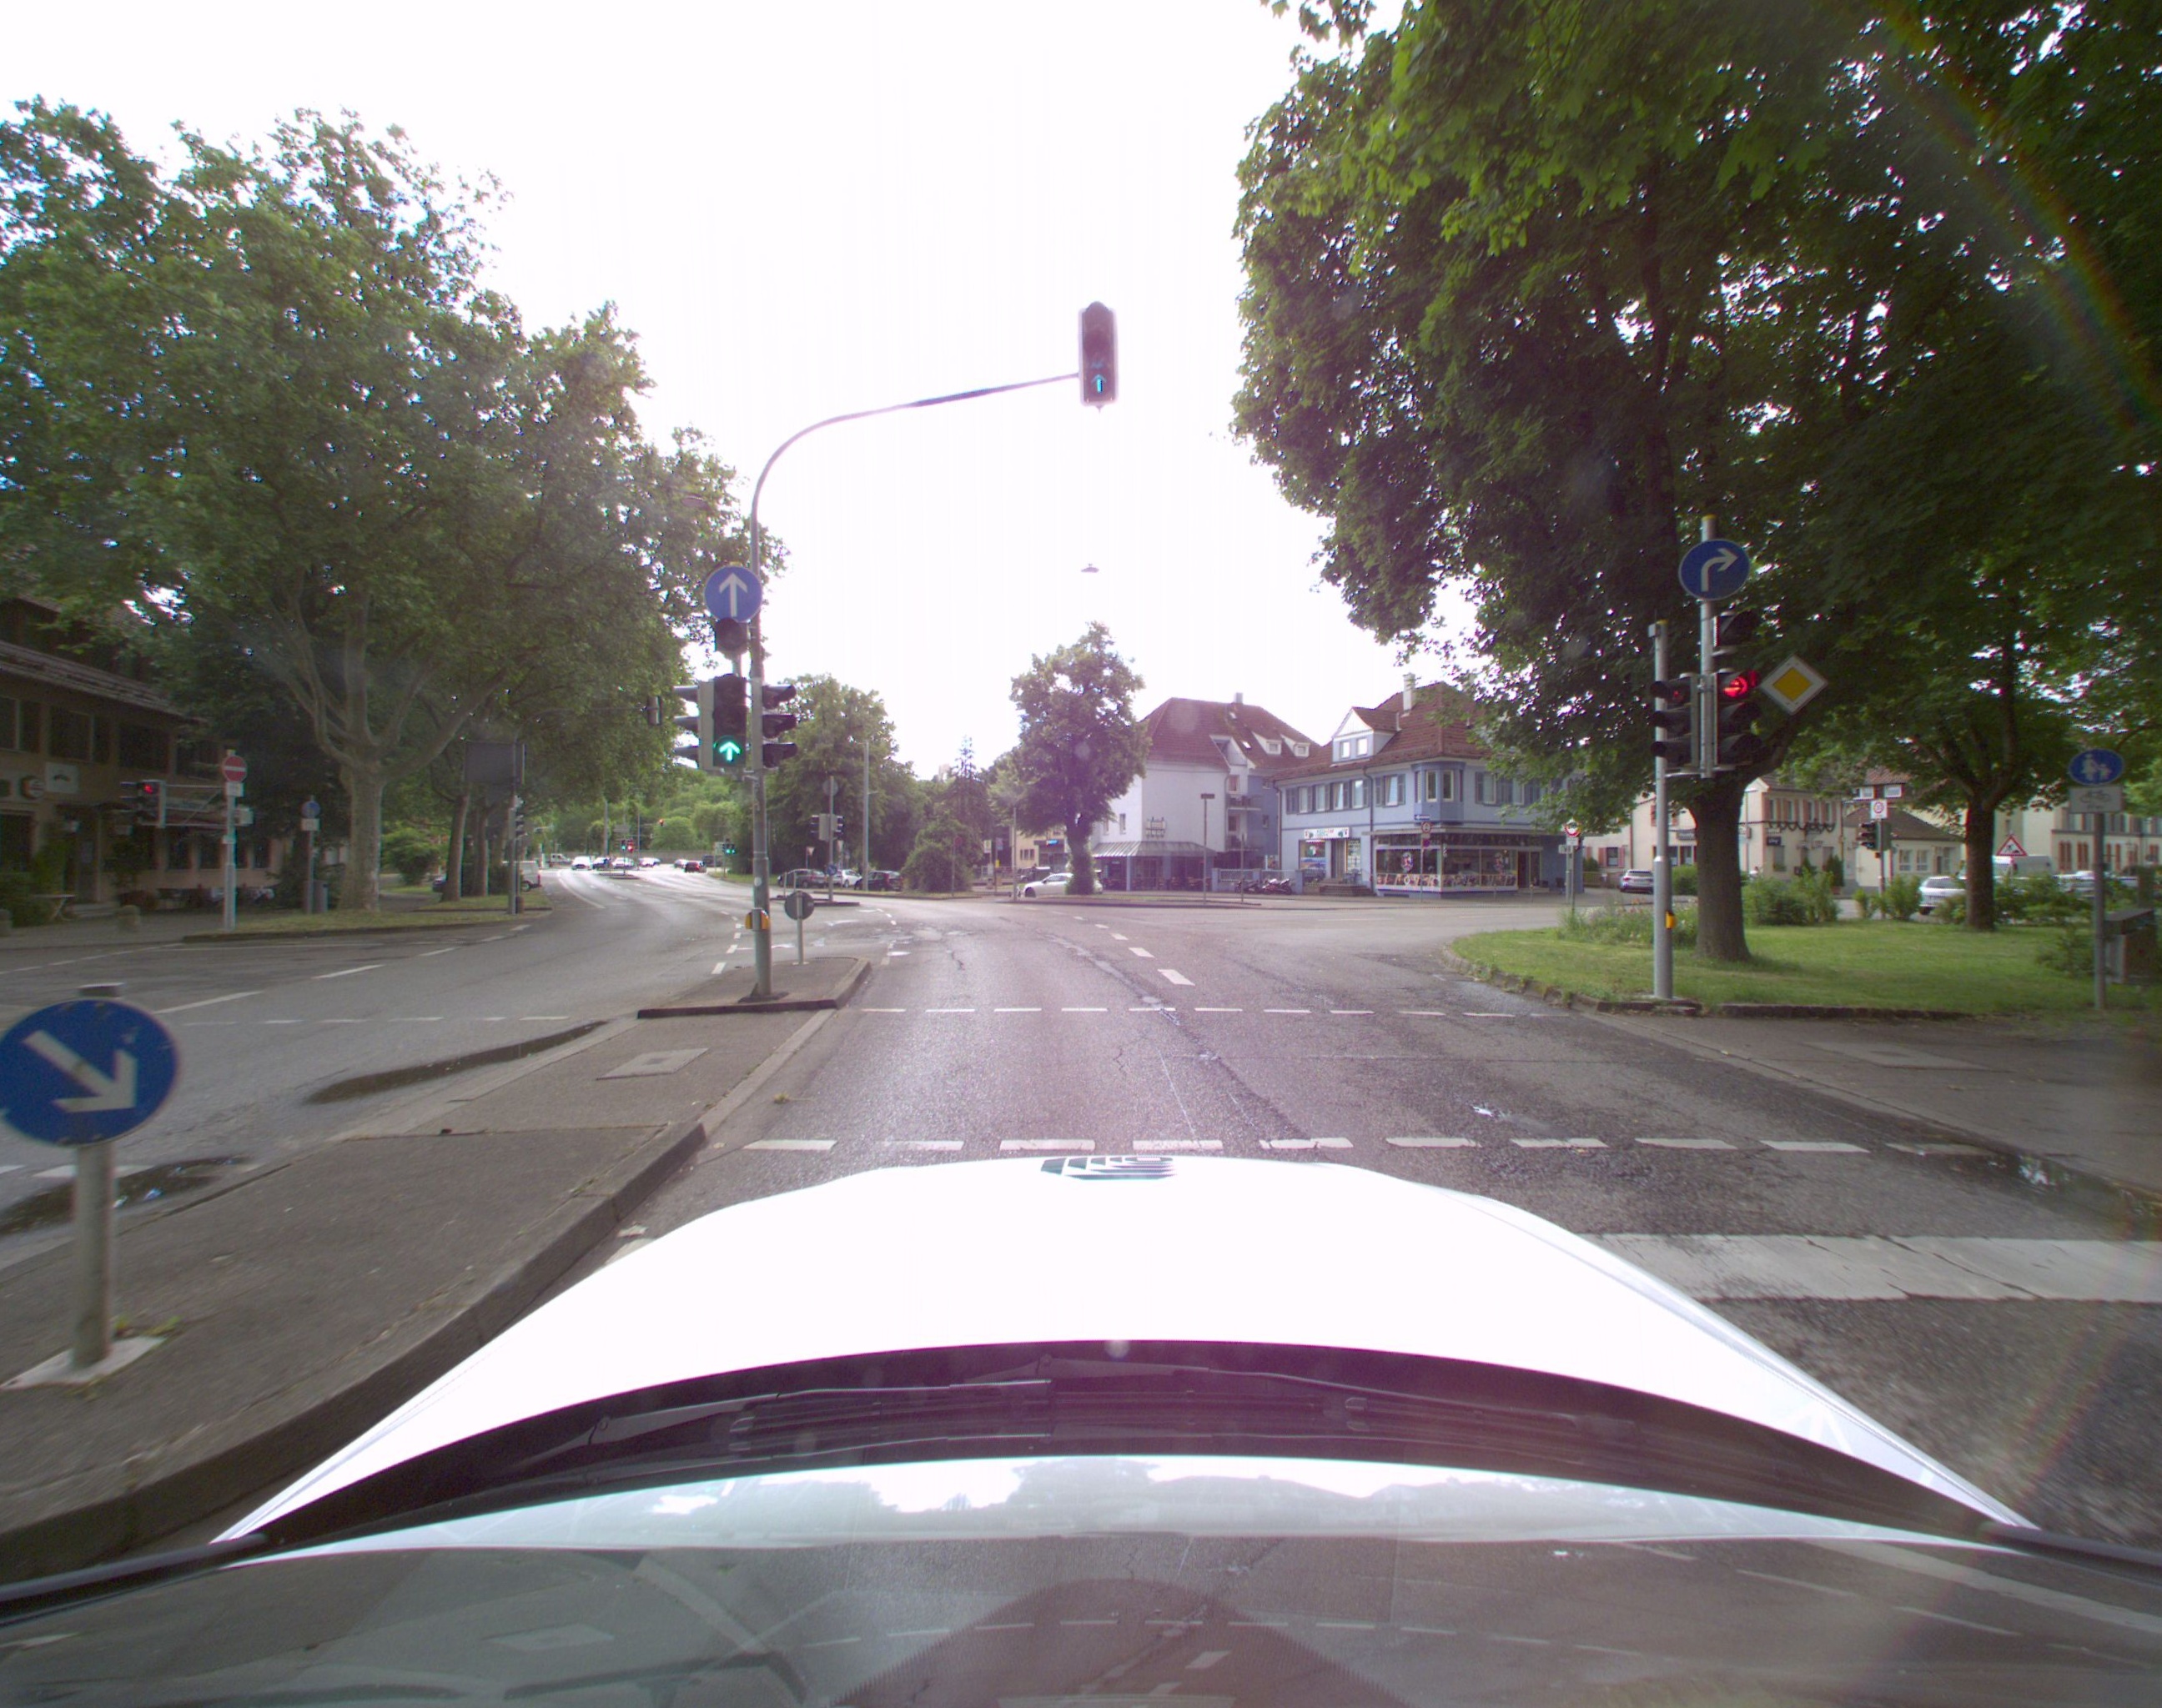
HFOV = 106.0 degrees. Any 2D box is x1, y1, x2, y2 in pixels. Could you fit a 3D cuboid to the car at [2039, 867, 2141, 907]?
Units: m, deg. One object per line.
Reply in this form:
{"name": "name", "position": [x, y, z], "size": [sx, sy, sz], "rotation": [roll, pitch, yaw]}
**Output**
{"name": "car", "position": [42.764, 1.351, 34.505], "size": [4.007, 1.572, 1.858], "rotation": [0, -1, -26]}

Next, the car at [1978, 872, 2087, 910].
{"name": "car", "position": [38.376, 1.446, 32.847], "size": [3.963, 1.456, 1.787], "rotation": [0, -1, -24]}

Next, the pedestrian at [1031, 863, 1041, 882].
{"name": "pedestrian", "position": [-4.079, 1.683, 73.293], "size": [0.691, 1.729, 0.605], "rotation": [0, -2, -29]}

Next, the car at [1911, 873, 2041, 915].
{"name": "car", "position": [33.461, 1.452, 30.432], "size": [4.551, 1.456, 1.886], "rotation": [0, -1, -23]}

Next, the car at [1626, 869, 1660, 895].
{"name": "car", "position": [33.191, 1.609, 48.148], "size": [1.551, 1.462, 3.461], "rotation": [-1, -1, 33]}

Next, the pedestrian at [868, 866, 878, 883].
{"name": "pedestrian", "position": [-19.680, 1.915, 77.086], "size": [0.687, 1.551, 0.736], "rotation": [1, -1, -29]}

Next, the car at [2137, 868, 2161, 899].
{"name": "car", "position": [53.306, 1.390, 39.246], "size": [4.406, 1.456, 1.910], "rotation": [0, -1, -23]}

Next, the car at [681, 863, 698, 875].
{"name": "car", "position": [-48.590, 1.857, 100.999], "size": [1.833, 1.509, 4.533], "rotation": [0, -1, -28]}

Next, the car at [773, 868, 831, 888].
{"name": "car", "position": [-21.683, 1.839, 63.288], "size": [4.062, 1.429, 1.743], "rotation": [1, 0, 24]}

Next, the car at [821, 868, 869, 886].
{"name": "car", "position": [-19.087, 1.849, 66.017], "size": [1.746, 1.381, 4.278], "rotation": [0, -1, 15]}

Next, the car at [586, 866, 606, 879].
{"name": "car", "position": [-64.264, 2.438, 107.924], "size": [1.805, 1.587, 4.379], "rotation": [-2, 1, -25]}

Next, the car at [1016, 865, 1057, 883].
{"name": "car", "position": [-4.094, 1.820, 74.386], "size": [3.427, 1.631, 1.612], "rotation": [0, -1, -22]}

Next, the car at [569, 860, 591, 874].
{"name": "car", "position": [-56.166, 1.452, 91.379], "size": [1.772, 1.466, 3.985], "rotation": [-1, -1, -27]}

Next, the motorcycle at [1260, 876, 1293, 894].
{"name": "motorcycle", "position": [11.069, 1.744, 46.221], "size": [0.525, 0.985, 1.800], "rotation": [1, -2, -44]}

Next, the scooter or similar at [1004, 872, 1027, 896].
{"name": "scooter or similar", "position": [-3.301, 1.538, 41.140], "size": [0.407, 1.167, 1.370], "rotation": [-1, -4, 29]}

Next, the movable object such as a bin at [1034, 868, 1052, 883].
{"name": "movable object such as a bin", "position": [-3.376, 1.919, 72.416], "size": [1.223, 1.345, 0.986], "rotation": [0, -1, -29]}

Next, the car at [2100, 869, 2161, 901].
{"name": "car", "position": [47.840, 1.363, 36.515], "size": [3.745, 1.390, 1.726], "rotation": [0, -1, -23]}

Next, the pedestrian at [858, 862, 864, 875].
{"name": "pedestrian", "position": [-25.156, 1.657, 93.107], "size": [0.512, 1.531, 0.773], "rotation": [1, -1, -19]}

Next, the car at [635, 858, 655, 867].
{"name": "car", "position": [-78.464, 1.578, 146.564], "size": [3.062, 1.239, 1.430], "rotation": [2, 12, -19]}

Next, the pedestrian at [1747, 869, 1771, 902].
{"name": "pedestrian", "position": [35.407, 1.649, 42.556], "size": [0.647, 1.697, 0.750], "rotation": [1, -2, -26]}

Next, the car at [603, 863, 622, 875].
{"name": "car", "position": [-68.220, 2.173, 118.572], "size": [1.920, 1.763, 4.714], "rotation": [0, 0, -24]}

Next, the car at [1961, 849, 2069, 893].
{"name": "car", "position": [53.129, 0.951, 46.313], "size": [5.965, 2.392, 2.318], "rotation": [0, -1, -23]}

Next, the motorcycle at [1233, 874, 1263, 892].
{"name": "motorcycle", "position": [9.841, 1.721, 47.978], "size": [0.492, 1.031, 1.704], "rotation": [1, -2, -44]}

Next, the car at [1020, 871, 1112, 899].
{"name": "car", "position": [-0.857, 1.651, 43.942], "size": [4.726, 1.386, 2.013], "rotation": [-1, -1, 37]}

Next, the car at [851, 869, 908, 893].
{"name": "car", "position": [-13.035, 1.712, 52.589], "size": [3.450, 1.404, 1.583], "rotation": [0, -1, 31]}

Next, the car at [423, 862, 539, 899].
{"name": "car", "position": [-36.051, 1.527, 49.059], "size": [2.058, 1.931, 5.275], "rotation": [-1, 1, 43]}

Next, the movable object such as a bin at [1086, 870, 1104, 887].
{"name": "movable object such as a bin", "position": [1.185, 2.054, 68.774], "size": [1.218, 1.395, 1.153], "rotation": [0, -1, -19]}
